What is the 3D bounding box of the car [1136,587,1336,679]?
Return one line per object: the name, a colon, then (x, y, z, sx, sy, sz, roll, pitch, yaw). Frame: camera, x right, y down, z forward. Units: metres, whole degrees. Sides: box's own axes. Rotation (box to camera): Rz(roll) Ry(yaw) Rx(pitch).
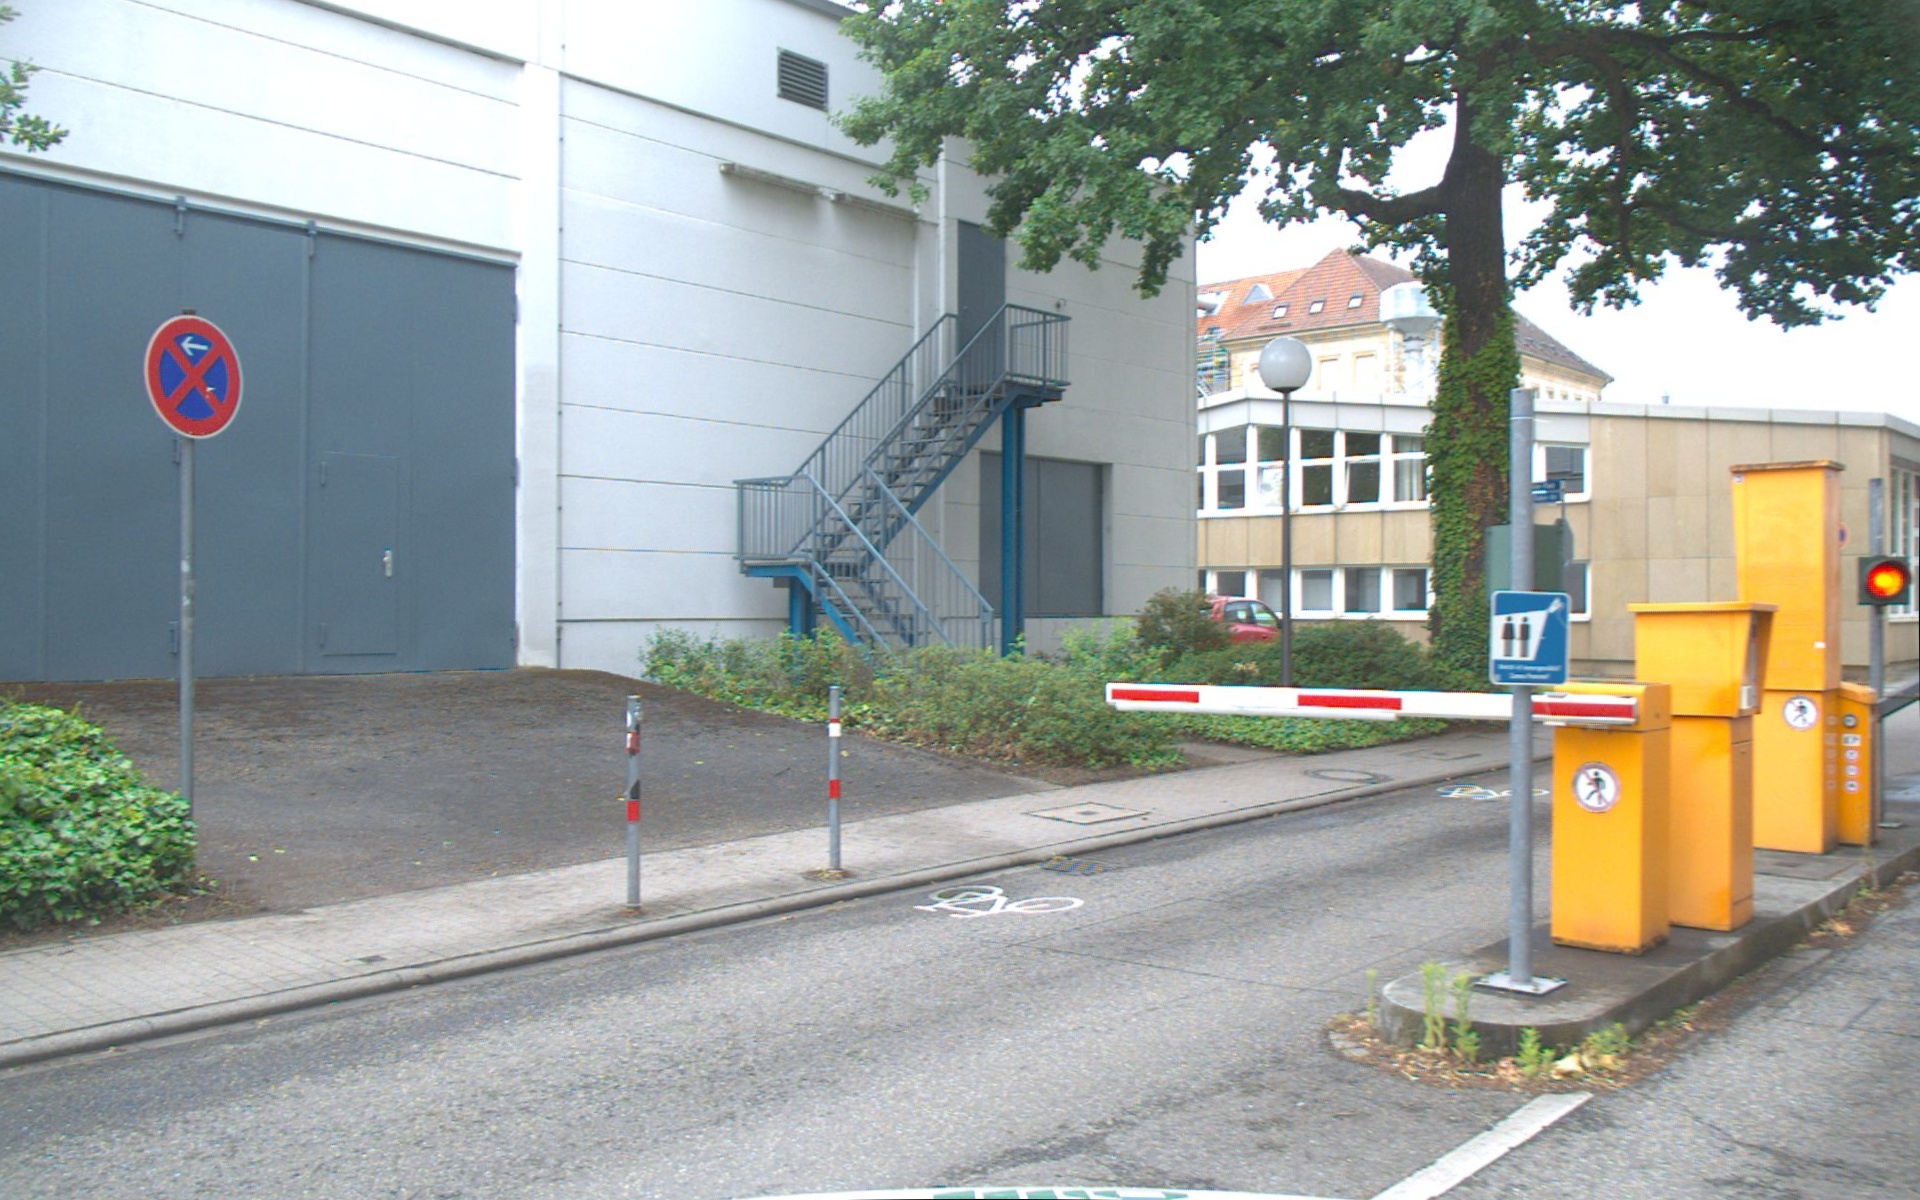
car: (5.088, 0.552, 30.149, 1.835, 1.557, 3.978, 0, 0, 40)
